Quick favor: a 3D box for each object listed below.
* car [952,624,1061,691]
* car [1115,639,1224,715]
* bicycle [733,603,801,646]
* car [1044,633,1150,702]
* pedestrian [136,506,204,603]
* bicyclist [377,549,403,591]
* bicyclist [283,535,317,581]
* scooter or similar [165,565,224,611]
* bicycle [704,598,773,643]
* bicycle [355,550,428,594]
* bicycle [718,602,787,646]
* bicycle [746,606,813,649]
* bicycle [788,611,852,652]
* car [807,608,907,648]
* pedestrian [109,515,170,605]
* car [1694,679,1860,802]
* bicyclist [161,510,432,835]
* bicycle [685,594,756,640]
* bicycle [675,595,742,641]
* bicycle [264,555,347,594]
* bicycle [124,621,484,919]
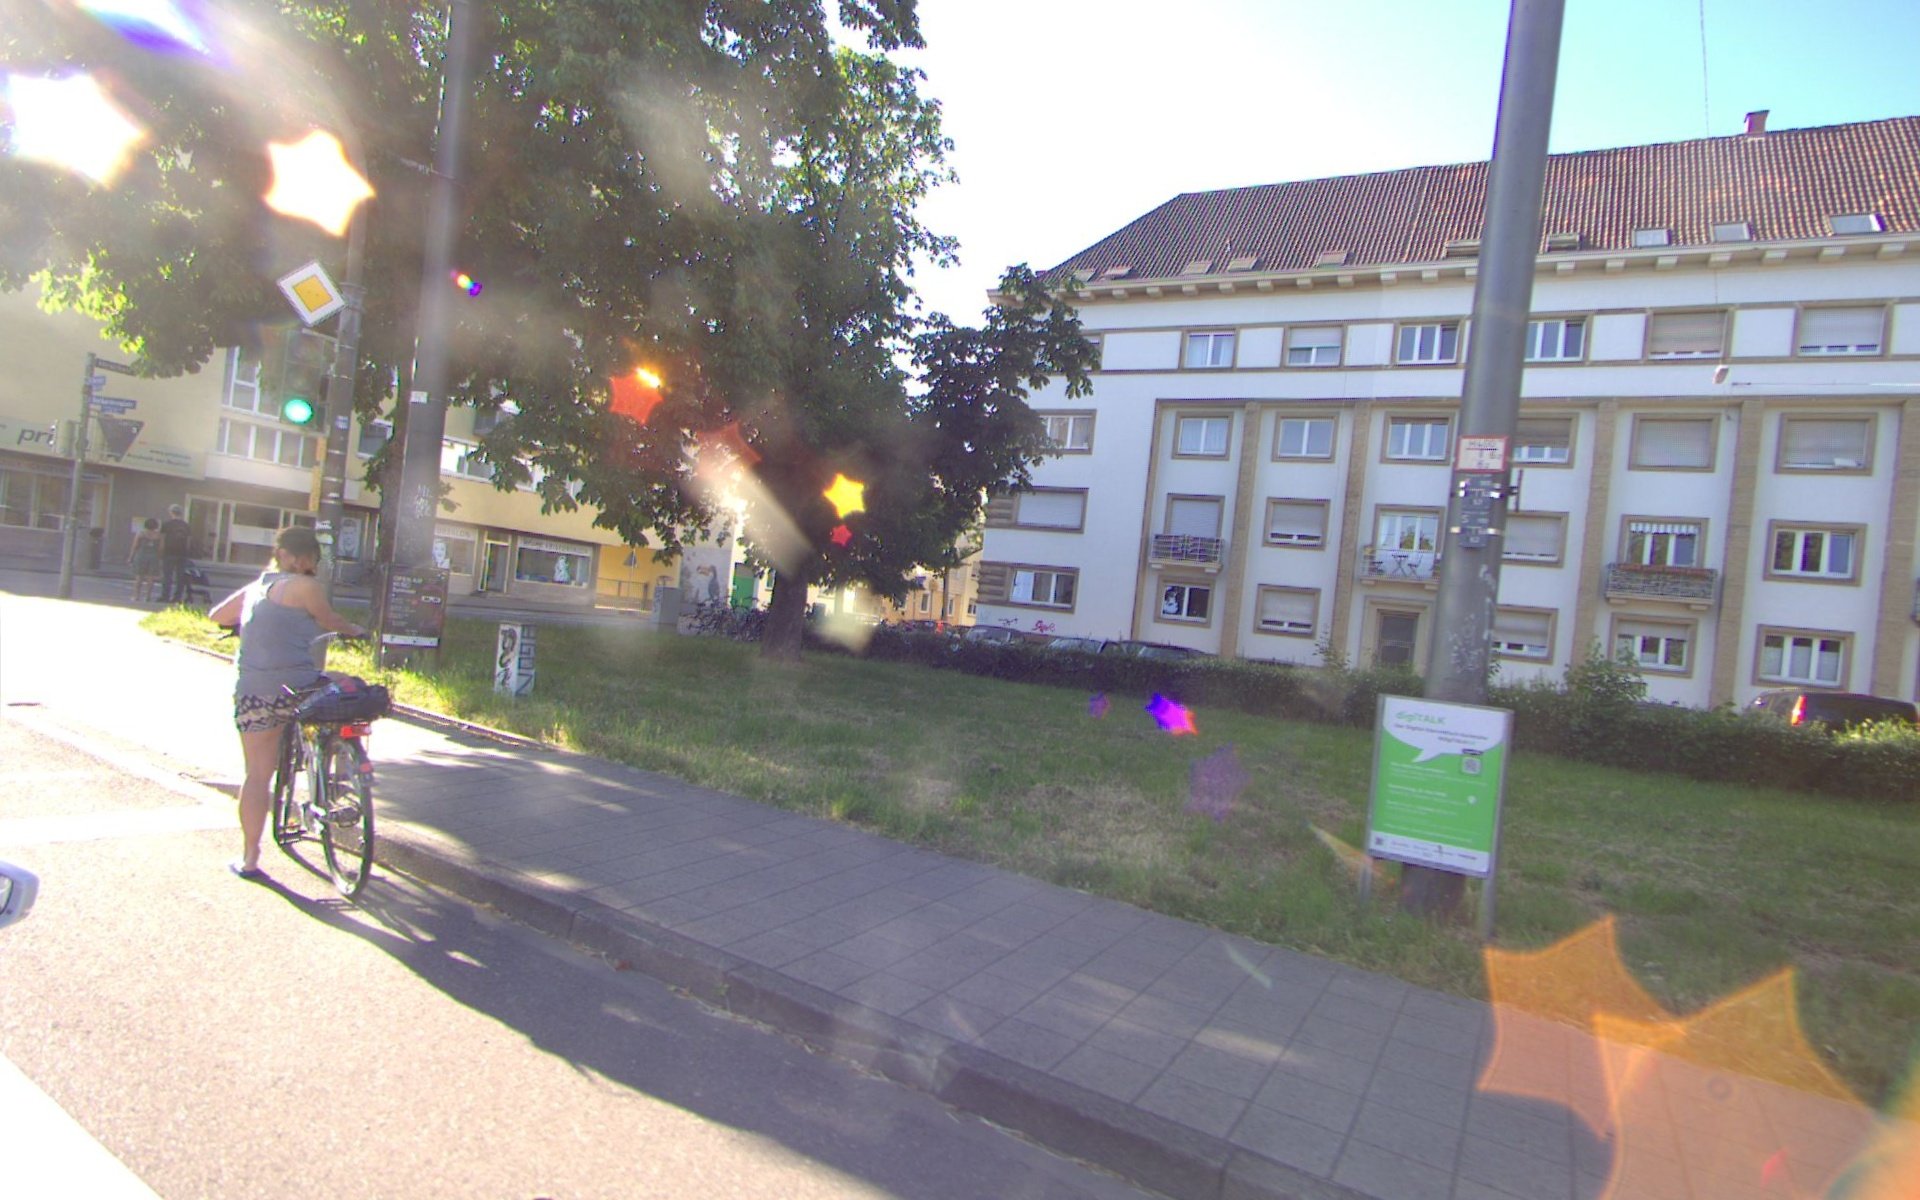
[{"bbox_3d":[1.332,1.607,27.572,1.549,1.547,3.254,6,-1,29],"label":"car"},{"bbox_3d":[5.144,1.866,24.398,1.549,1.547,3.254,6,-1,29],"label":"car"},{"bbox_3d":[-5.788,0.723,30.121,1.973,1.046,0.598,6,-3,31],"label":"bicycle"},{"bbox_3d":[3.646,1.791,26.411,1.549,1.547,3.254,6,-1,29],"label":"car"},{"bbox_3d":[-14.760,-0.847,18.802,0.526,1.700,0.729,6,-3,43],"label":"pedestrian"},{"bbox_3d":[-22.666,-1.192,40.007,0.456,1.584,0.528,6,-2,29],"label":"bicyclist"},{"bbox_3d":[-23.111,-1.471,35.241,0.765,1.489,0.887,6,1,-42],"label":"bicyclist"},{"bbox_3d":[-14.440,-0.228,18.989,0.670,0.745,0.599,6,-3,31],"label":"scooter or similar"},{"bbox_3d":[-6.392,0.594,29.004,1.957,1.046,0.598,6,-3,31],"label":"bicycle"},{"bbox_3d":[-22.950,-1.116,40.663,0.598,1.414,2.477,6,-3,30],"label":"bicycle"},{"bbox_3d":[-6.104,0.688,29.588,1.973,1.046,0.598,6,-3,31],"label":"bicycle"},{"bbox_3d":[-5.512,0.830,30.658,1.973,1.046,0.598,6,-3,31],"label":"bicycle"},{"bbox_3d":[-4.491,1.005,32.214,1.973,1.046,0.598,6,-3,31],"label":"bicycle"},{"bbox_3d":[-5.768,1.577,56.563,5.062,1.513,2.208,8,0,-35],"label":"car"},{"bbox_3d":[-14.995,-0.726,18.387,0.489,1.539,0.646,6,-3,43],"label":"pedestrian"},{"bbox_3d":[14.947,2.581,18.624,1.739,1.813,3.997,6,-4,32],"label":"car"},{"bbox_3d":[-3.074,0.318,4.677,0.790,1.337,0.639,6,-3,33],"label":"bicyclist"},{"bbox_3d":[-6.791,0.484,28.486,1.973,1.046,0.598,6,-3,31],"label":"bicycle"},{"bbox_3d":[-6.968,0.480,27.833,1.766,1.046,0.598,6,-3,31],"label":"bicycle"},{"bbox_3d":[-23.009,-0.888,35.384,2.246,1.000,0.778,9,3,-44],"label":"bicycle"},{"bbox_3d":[-3.059,0.700,4.629,1.775,0.983,0.649,6,-3,34],"label":"bicycle"}]
